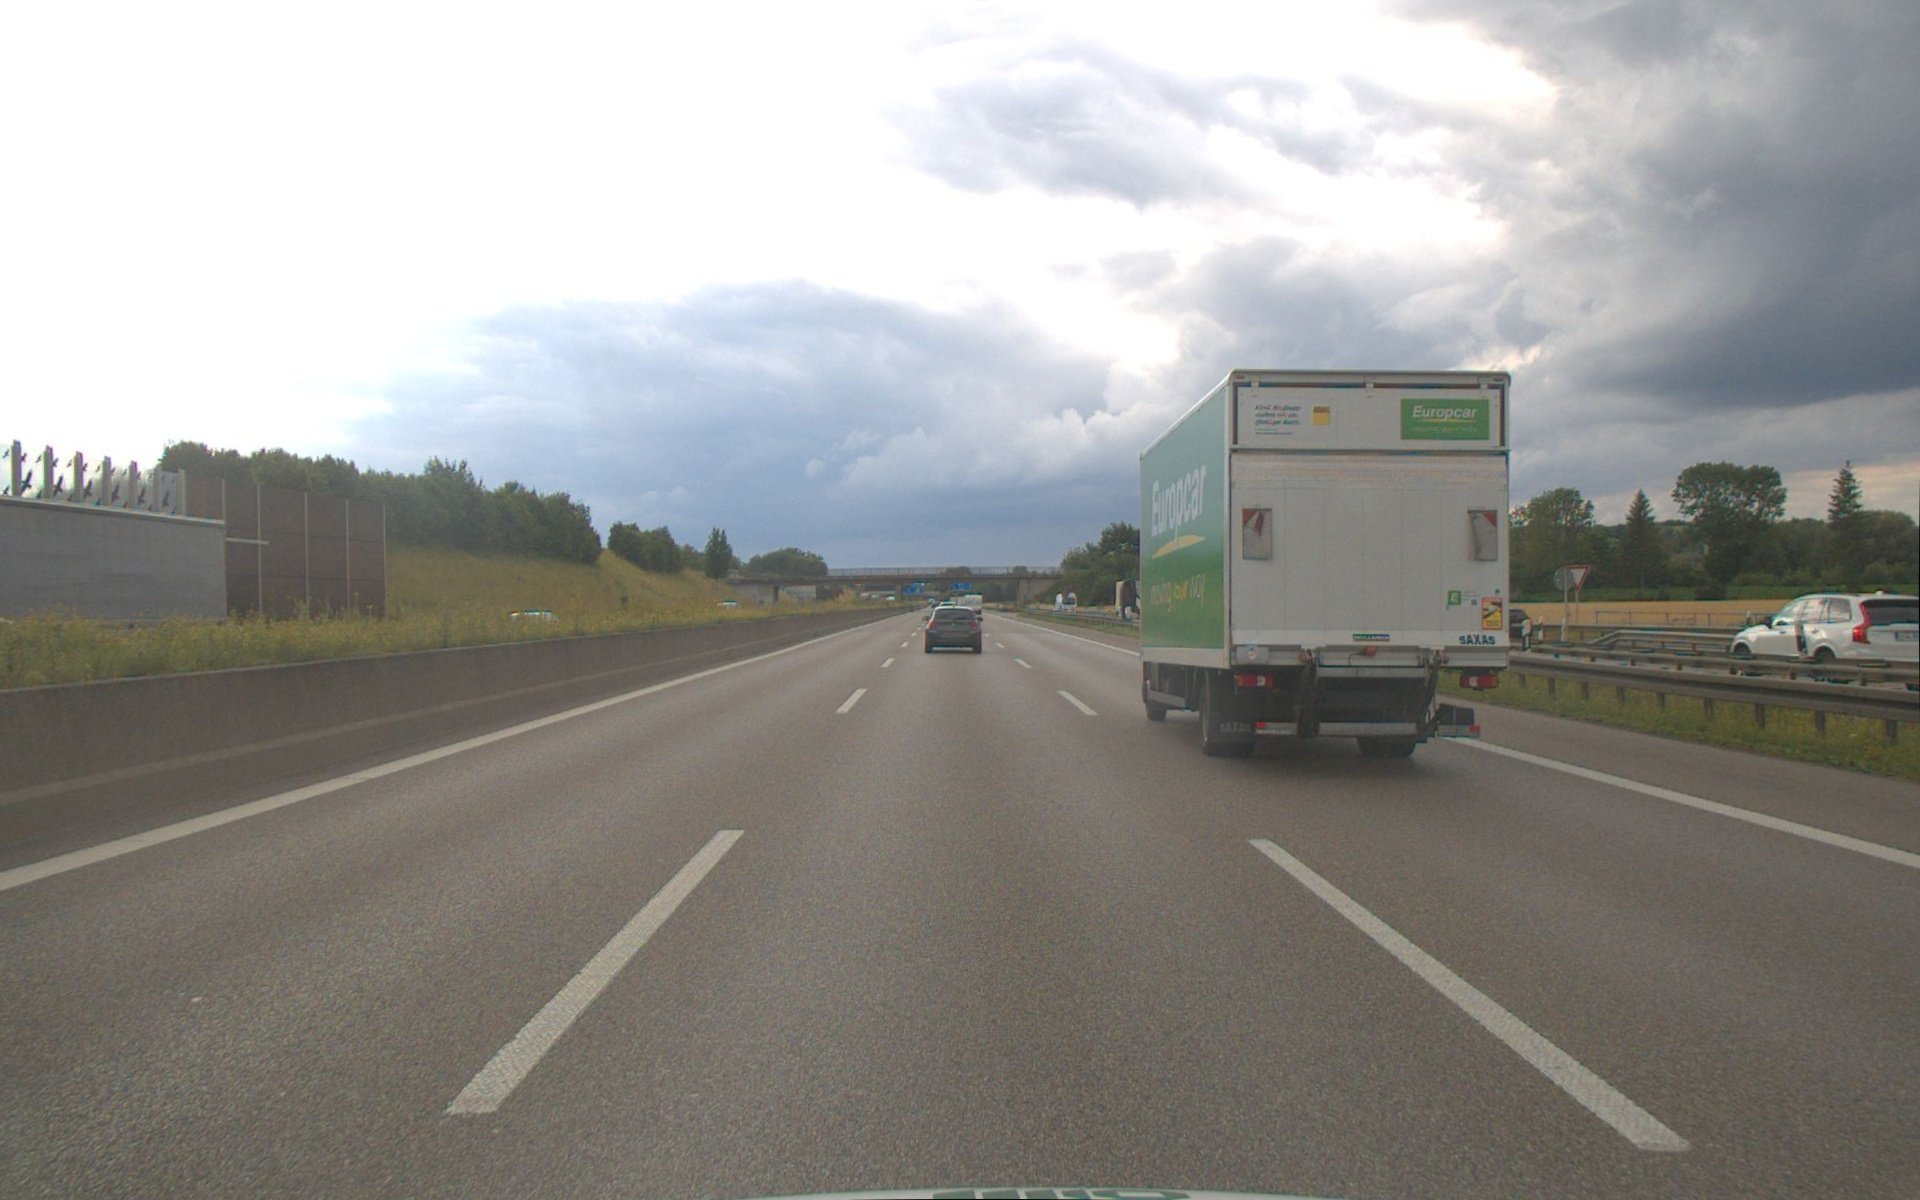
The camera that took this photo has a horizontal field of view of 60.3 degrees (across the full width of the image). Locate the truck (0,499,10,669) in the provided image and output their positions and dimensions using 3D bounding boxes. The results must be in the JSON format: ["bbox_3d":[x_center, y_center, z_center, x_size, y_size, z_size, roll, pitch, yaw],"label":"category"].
[{"bbox_3d":[-19.951,-0.303,29.357,2.767,3.283,5.979,0,0,-1],"label":"truck"}]

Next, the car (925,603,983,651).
[{"bbox_3d":[-0.209,0.814,51.381,1.708,1.413,3.999,1,0,-1],"label":"car"}]

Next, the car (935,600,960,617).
[{"bbox_3d":[-0.997,0.683,132.885,1.953,1.321,3.999,-1,0,-1],"label":"car"}]

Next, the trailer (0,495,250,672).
[{"bbox_3d":[-20.045,-0.299,36.833,2.762,3.436,13.507,0,0,-1],"label":"trailer"}]

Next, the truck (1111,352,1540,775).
[{"bbox_3d":[3.539,-0.306,18.652,2.714,3.566,9.060,1,0,-1],"label":"truck"}]

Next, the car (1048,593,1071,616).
[{"bbox_3d":[11.384,0.499,190.051,2.176,2.613,6.255,0,0,-1],"label":"car"}]

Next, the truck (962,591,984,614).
[{"bbox_3d":[1.677,0.350,222.893,2.655,3.016,12.444,1,0,-1],"label":"truck"}]

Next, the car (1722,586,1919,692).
[{"bbox_3d":[16.074,0.653,30.344,1.791,1.787,5.064,-1,0,-1],"label":"car"}]

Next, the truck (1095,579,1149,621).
[{"bbox_3d":[14.252,-0.013,146.118,3.044,3.531,8.879,1,0,-6],"label":"truck"}]
